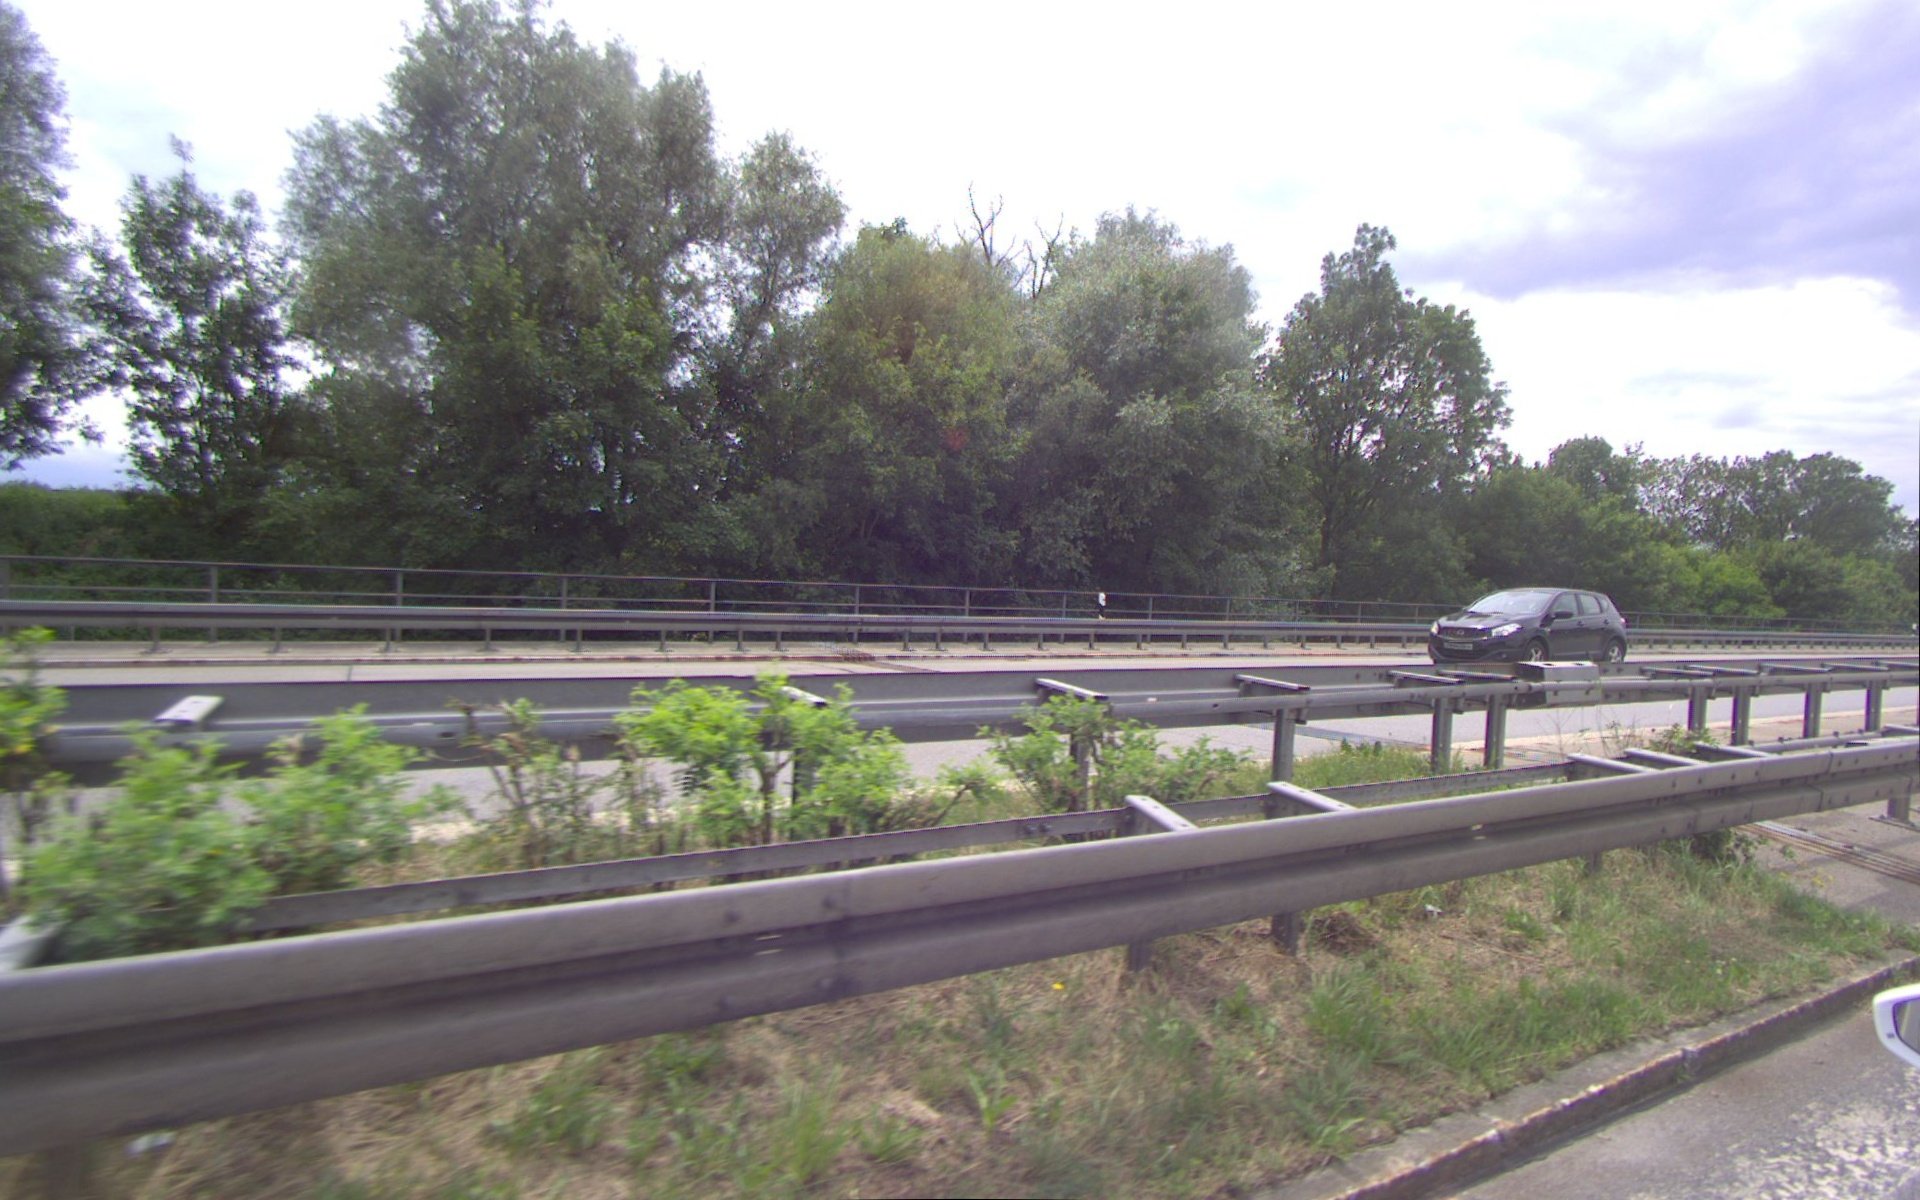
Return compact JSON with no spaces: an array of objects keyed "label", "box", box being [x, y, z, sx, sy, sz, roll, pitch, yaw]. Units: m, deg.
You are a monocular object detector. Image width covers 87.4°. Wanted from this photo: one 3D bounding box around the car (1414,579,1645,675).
[{"label":"car","box":[10.426,0.470,18.325,4.280,1.580,1.721,1,1,-30]}]
